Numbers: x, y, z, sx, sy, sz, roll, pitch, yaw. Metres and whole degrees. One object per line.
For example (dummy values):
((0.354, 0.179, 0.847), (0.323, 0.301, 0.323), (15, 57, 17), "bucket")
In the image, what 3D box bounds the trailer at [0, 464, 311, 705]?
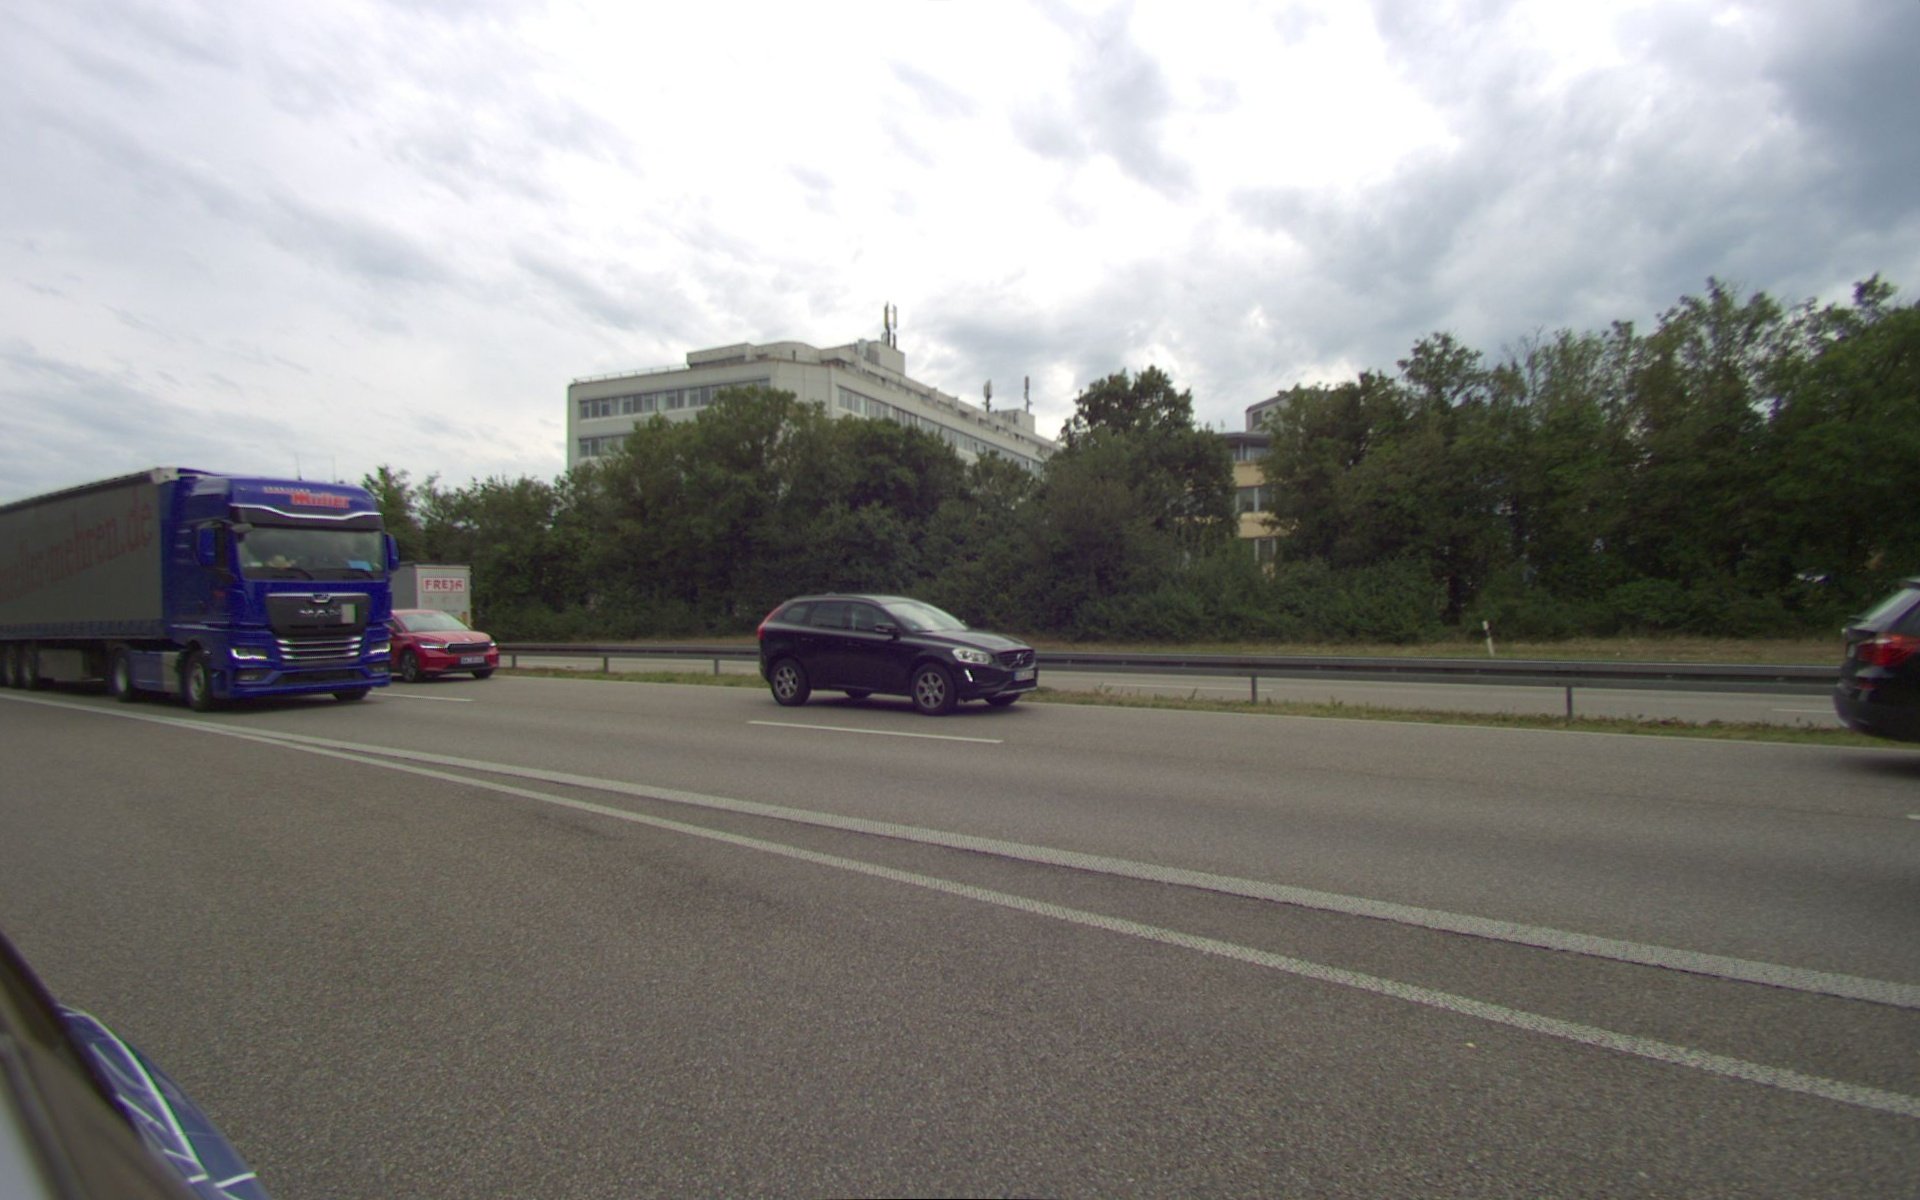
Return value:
((-18.587, -0.203, 21.880), (13.428, 4.053, 2.605), (-1, 0, 34), "trailer")

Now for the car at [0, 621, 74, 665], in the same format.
((-35.660, 1.598, 38.459), (3.987, 1.583, 1.978), (-1, -1, 33), "car")

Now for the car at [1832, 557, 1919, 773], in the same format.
((9.300, 0.461, 7.133), (4.645, 1.625, 1.842), (-1, -1, 38), "car")

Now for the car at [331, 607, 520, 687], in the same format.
((-12.225, 1.028, 23.027), (4.779, 1.631, 1.975), (-2, -2, 37), "car")

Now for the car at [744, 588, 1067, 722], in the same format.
((-0.909, 0.742, 14.756), (4.674, 1.667, 1.730), (-1, -2, 36), "car")

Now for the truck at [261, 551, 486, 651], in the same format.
((-27.642, 0.209, 47.131), (14.848, 4.121, 2.960), (-1, -1, 34), "truck")

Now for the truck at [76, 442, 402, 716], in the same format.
((-12.935, -0.291, 17.984), (6.571, 4.073, 2.540), (-1, 0, 34), "truck")
